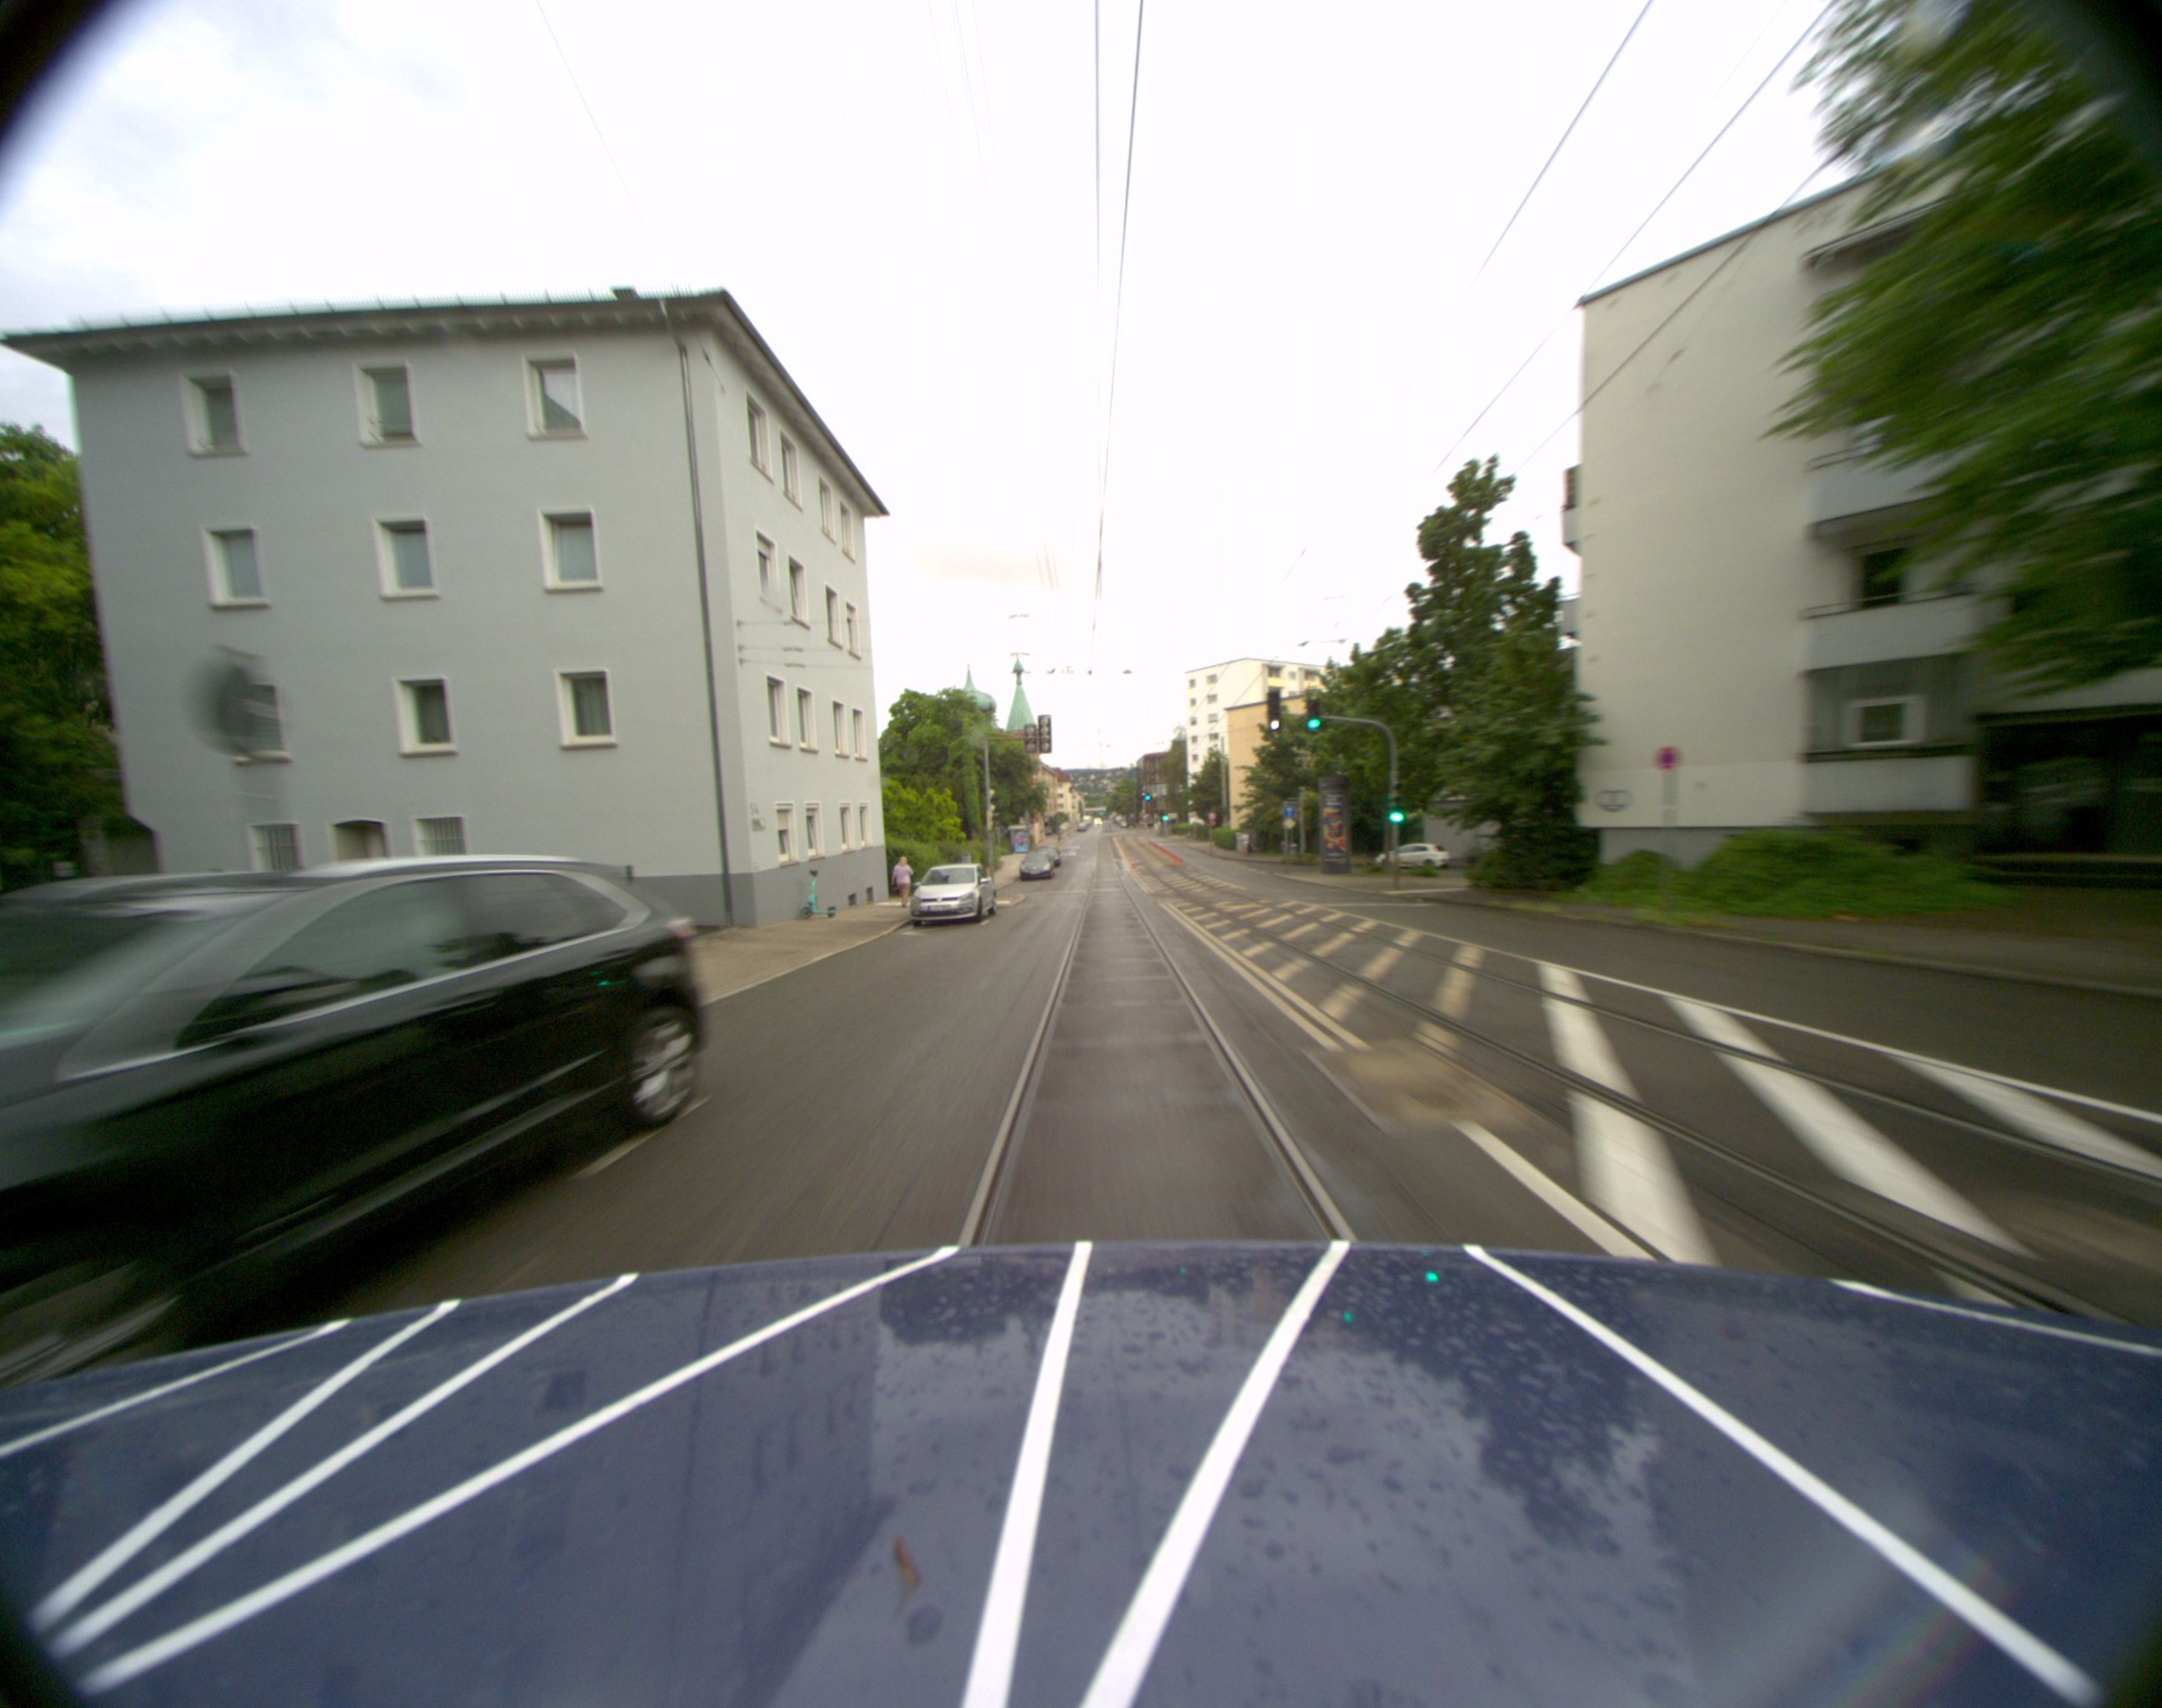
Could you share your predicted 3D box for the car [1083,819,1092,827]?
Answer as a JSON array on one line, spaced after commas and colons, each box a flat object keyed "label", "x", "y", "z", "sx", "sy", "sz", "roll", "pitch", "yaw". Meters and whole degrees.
[{"label": "car", "x": 1.432, "y": -6.761, "z": 167.472, "sx": 1.734, "sy": 1.452, "sz": 4.474, "roll": -4, "pitch": 5, "yaw": 2}]

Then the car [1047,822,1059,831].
[{"label": "car", "x": -4.983, "y": -4.943, "z": 136.143, "sx": 1.857, "sy": 1.495, "sz": 4.445, "roll": 0, "pitch": 5, "yaw": 2}]

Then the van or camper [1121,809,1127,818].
[{"label": "van or camper", "x": 14.444, "y": -13.584, "z": 255.421, "sx": 2.143, "sy": 2.589, "sz": 5.546, "roll": -3, "pitch": 5, "yaw": 3}]

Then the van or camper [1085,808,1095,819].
[{"label": "van or camper", "x": 2.982, "y": -12.756, "z": 237.884, "sx": 2.753, "sy": 3.042, "sz": 7.025, "roll": -3, "pitch": 5, "yaw": 3}]

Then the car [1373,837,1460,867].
[{"label": "car", "x": 19.564, "y": -0.149, "z": 44.415, "sx": 2.003, "sy": 1.473, "sz": 4.148, "roll": -8, "pitch": 6, "yaw": -42}]

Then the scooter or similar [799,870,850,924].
[{"label": "scooter or similar", "x": -6.456, "y": 1.059, "z": 19.191, "sx": 0.576, "sy": 1.242, "sz": 1.611, "roll": 0, "pitch": 1, "yaw": 7}]

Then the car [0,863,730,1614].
[{"label": "car", "x": -3.492, "y": 0.989, "z": 2.919, "sx": 1.911, "sy": 1.632, "sz": 4.688, "roll": -4, "pitch": 1, "yaw": 1}]

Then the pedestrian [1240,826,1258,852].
[{"label": "pedestrian", "x": 12.535, "y": -1.126, "z": 56.770, "sx": 0.921, "sy": 1.836, "sz": 1.016, "roll": -5, "pitch": 5, "yaw": -3}]

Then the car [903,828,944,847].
[{"label": "car", "x": -15.478, "y": -1.601, "z": 74.500, "sx": 4.189, "sy": 1.687, "sz": 1.845, "roll": 1, "pitch": 6, "yaw": 45}]

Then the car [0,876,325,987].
[{"label": "car", "x": -14.880, "y": 1.143, "z": 11.989, "sx": 4.378, "sy": 1.425, "sz": 1.819, "roll": 0, "pitch": 4, "yaw": 8}]

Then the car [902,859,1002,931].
[{"label": "car", "x": -3.176, "y": 0.969, "z": 19.542, "sx": 1.709, "sy": 1.425, "sz": 4.101, "roll": -4, "pitch": 1, "yaw": 1}]

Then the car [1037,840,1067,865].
[{"label": "car", "x": -2.104, "y": -0.129, "z": 55.958, "sx": 1.862, "sy": 1.479, "sz": 4.642, "roll": -4, "pitch": 3, "yaw": 1}]

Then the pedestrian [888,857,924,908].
[{"label": "pedestrian", "x": -5.458, "y": 0.874, "z": 23.733, "sx": 0.884, "sy": 1.574, "sz": 0.801, "roll": -1, "pitch": 0, "yaw": 4}]

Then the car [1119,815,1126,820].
[{"label": "car", "x": 13.484, "y": -11.897, "z": 248.904, "sx": 1.998, "sy": 1.566, "sz": 3.997, "roll": -4, "pitch": 5, "yaw": 1}]

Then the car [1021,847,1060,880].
[{"label": "car", "x": -2.288, "y": 0.508, "z": 44.073, "sx": 1.945, "sy": 1.456, "sz": 4.203, "roll": -4, "pitch": 3, "yaw": 0}]

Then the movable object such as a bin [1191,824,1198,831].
[{"label": "movable object such as a bin", "x": 14.409, "y": -3.360, "z": 96.562, "sx": 0.688, "sy": 0.877, "sz": 0.759, "roll": -4, "pitch": 5, "yaw": -3}]
